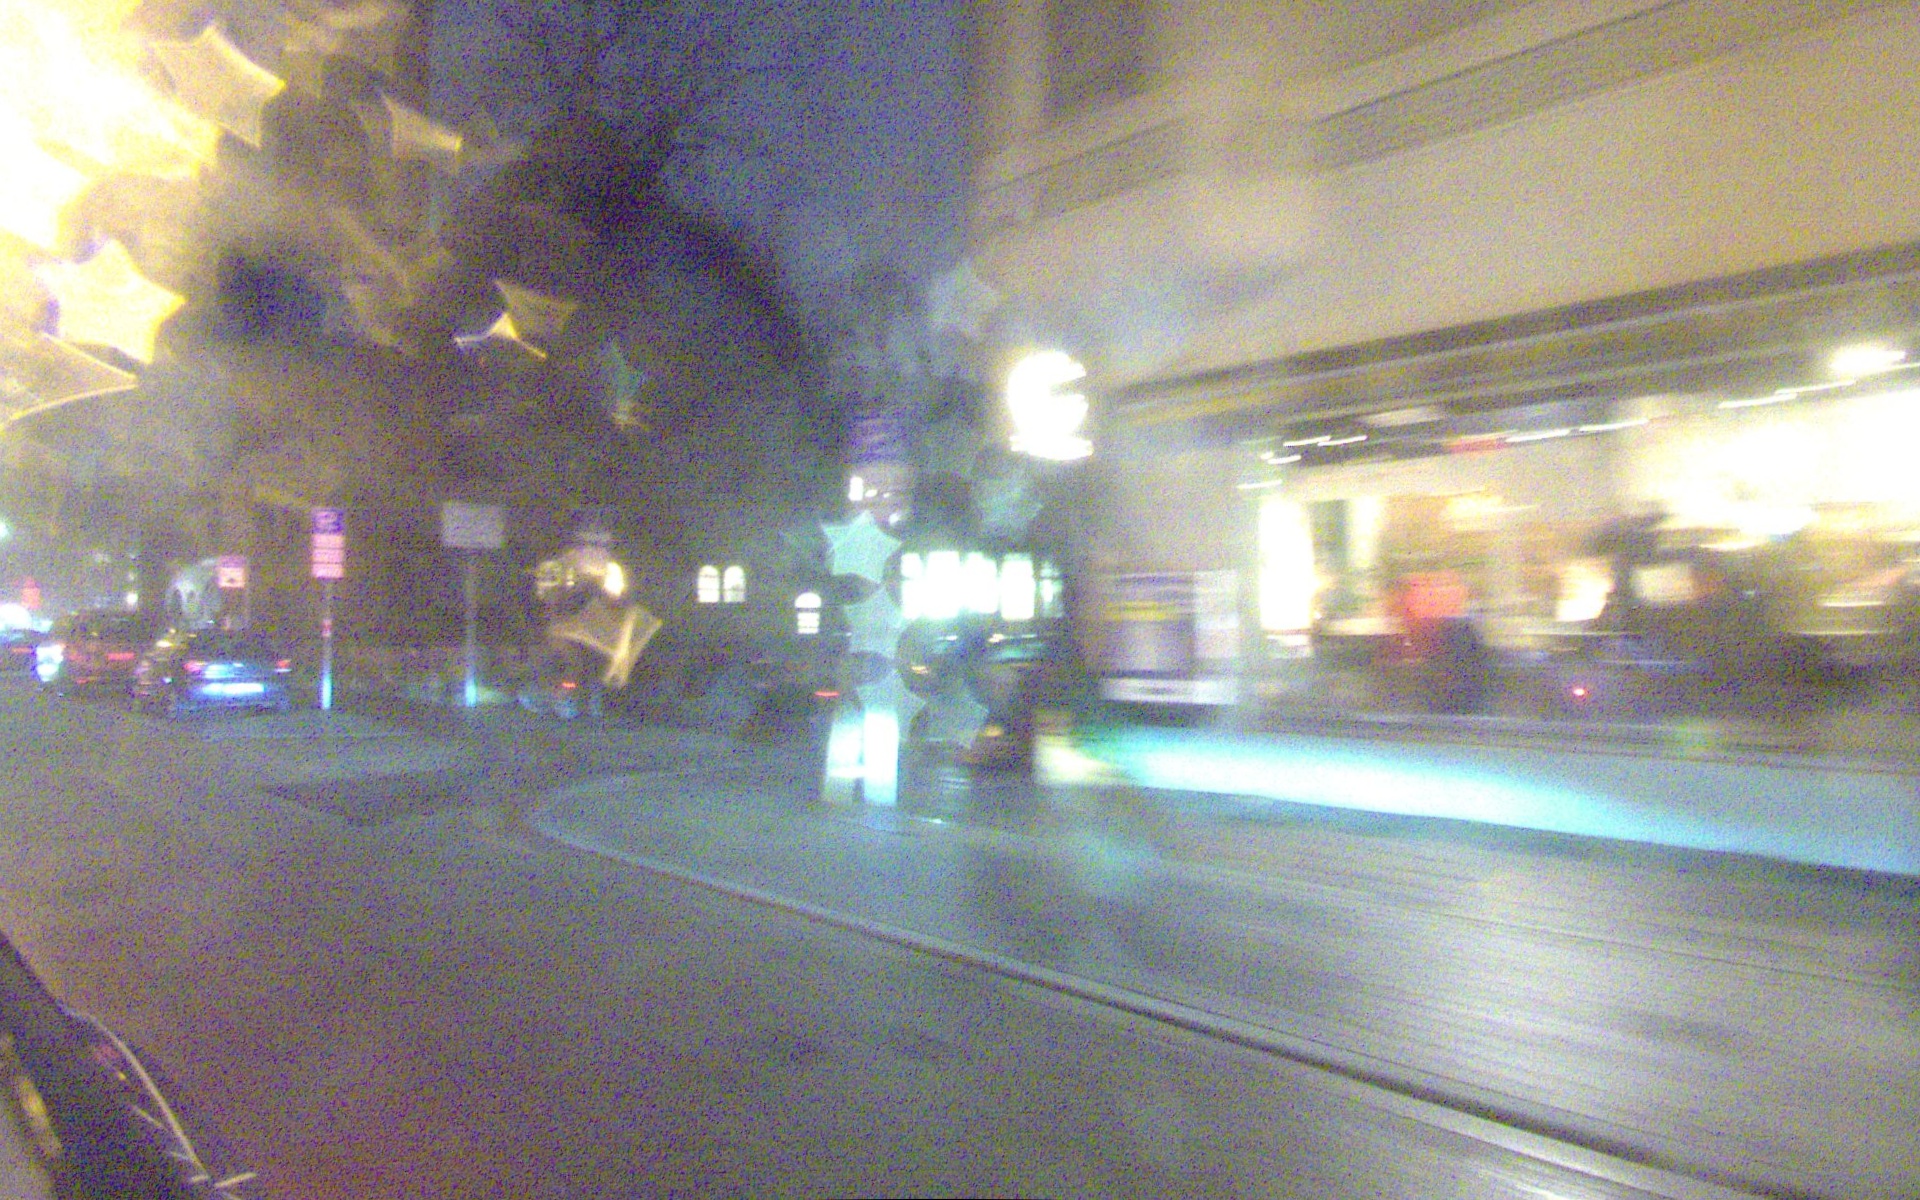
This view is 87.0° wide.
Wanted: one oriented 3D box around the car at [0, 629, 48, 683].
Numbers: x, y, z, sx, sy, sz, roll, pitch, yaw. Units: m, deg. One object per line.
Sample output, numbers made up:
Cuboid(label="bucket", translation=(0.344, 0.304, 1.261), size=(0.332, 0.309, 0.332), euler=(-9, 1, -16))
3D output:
Cuboid(label="car", translation=(-31.731, 1.837, 33.748), size=(1.791, 1.683, 4.414), euler=(1, -2, -44))

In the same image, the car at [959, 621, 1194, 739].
Cuboid(label="car", translation=(1.939, 1.141, 15.927), size=(1.790, 1.550, 3.946), euler=(-2, -1, 40))

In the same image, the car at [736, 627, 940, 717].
Cuboid(label="car", translation=(-2.309, 1.339, 19.932), size=(1.715, 1.583, 3.892), euler=(-2, -2, 40))

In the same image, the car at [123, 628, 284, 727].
Cuboid(label="car", translation=(-12.984, 1.244, 17.309), size=(3.562, 1.453, 1.530), euler=(-2, 0, 42))

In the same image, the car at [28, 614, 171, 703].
Cuboid(label="car", translation=(-20.014, 1.303, 23.465), size=(4.825, 1.860, 1.847), euler=(-2, -3, 42))

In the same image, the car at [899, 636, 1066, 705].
Cuboid(label="car", translation=(0.594, 1.579, 23.570), size=(1.853, 1.460, 3.946), euler=(-2, -3, 40))
